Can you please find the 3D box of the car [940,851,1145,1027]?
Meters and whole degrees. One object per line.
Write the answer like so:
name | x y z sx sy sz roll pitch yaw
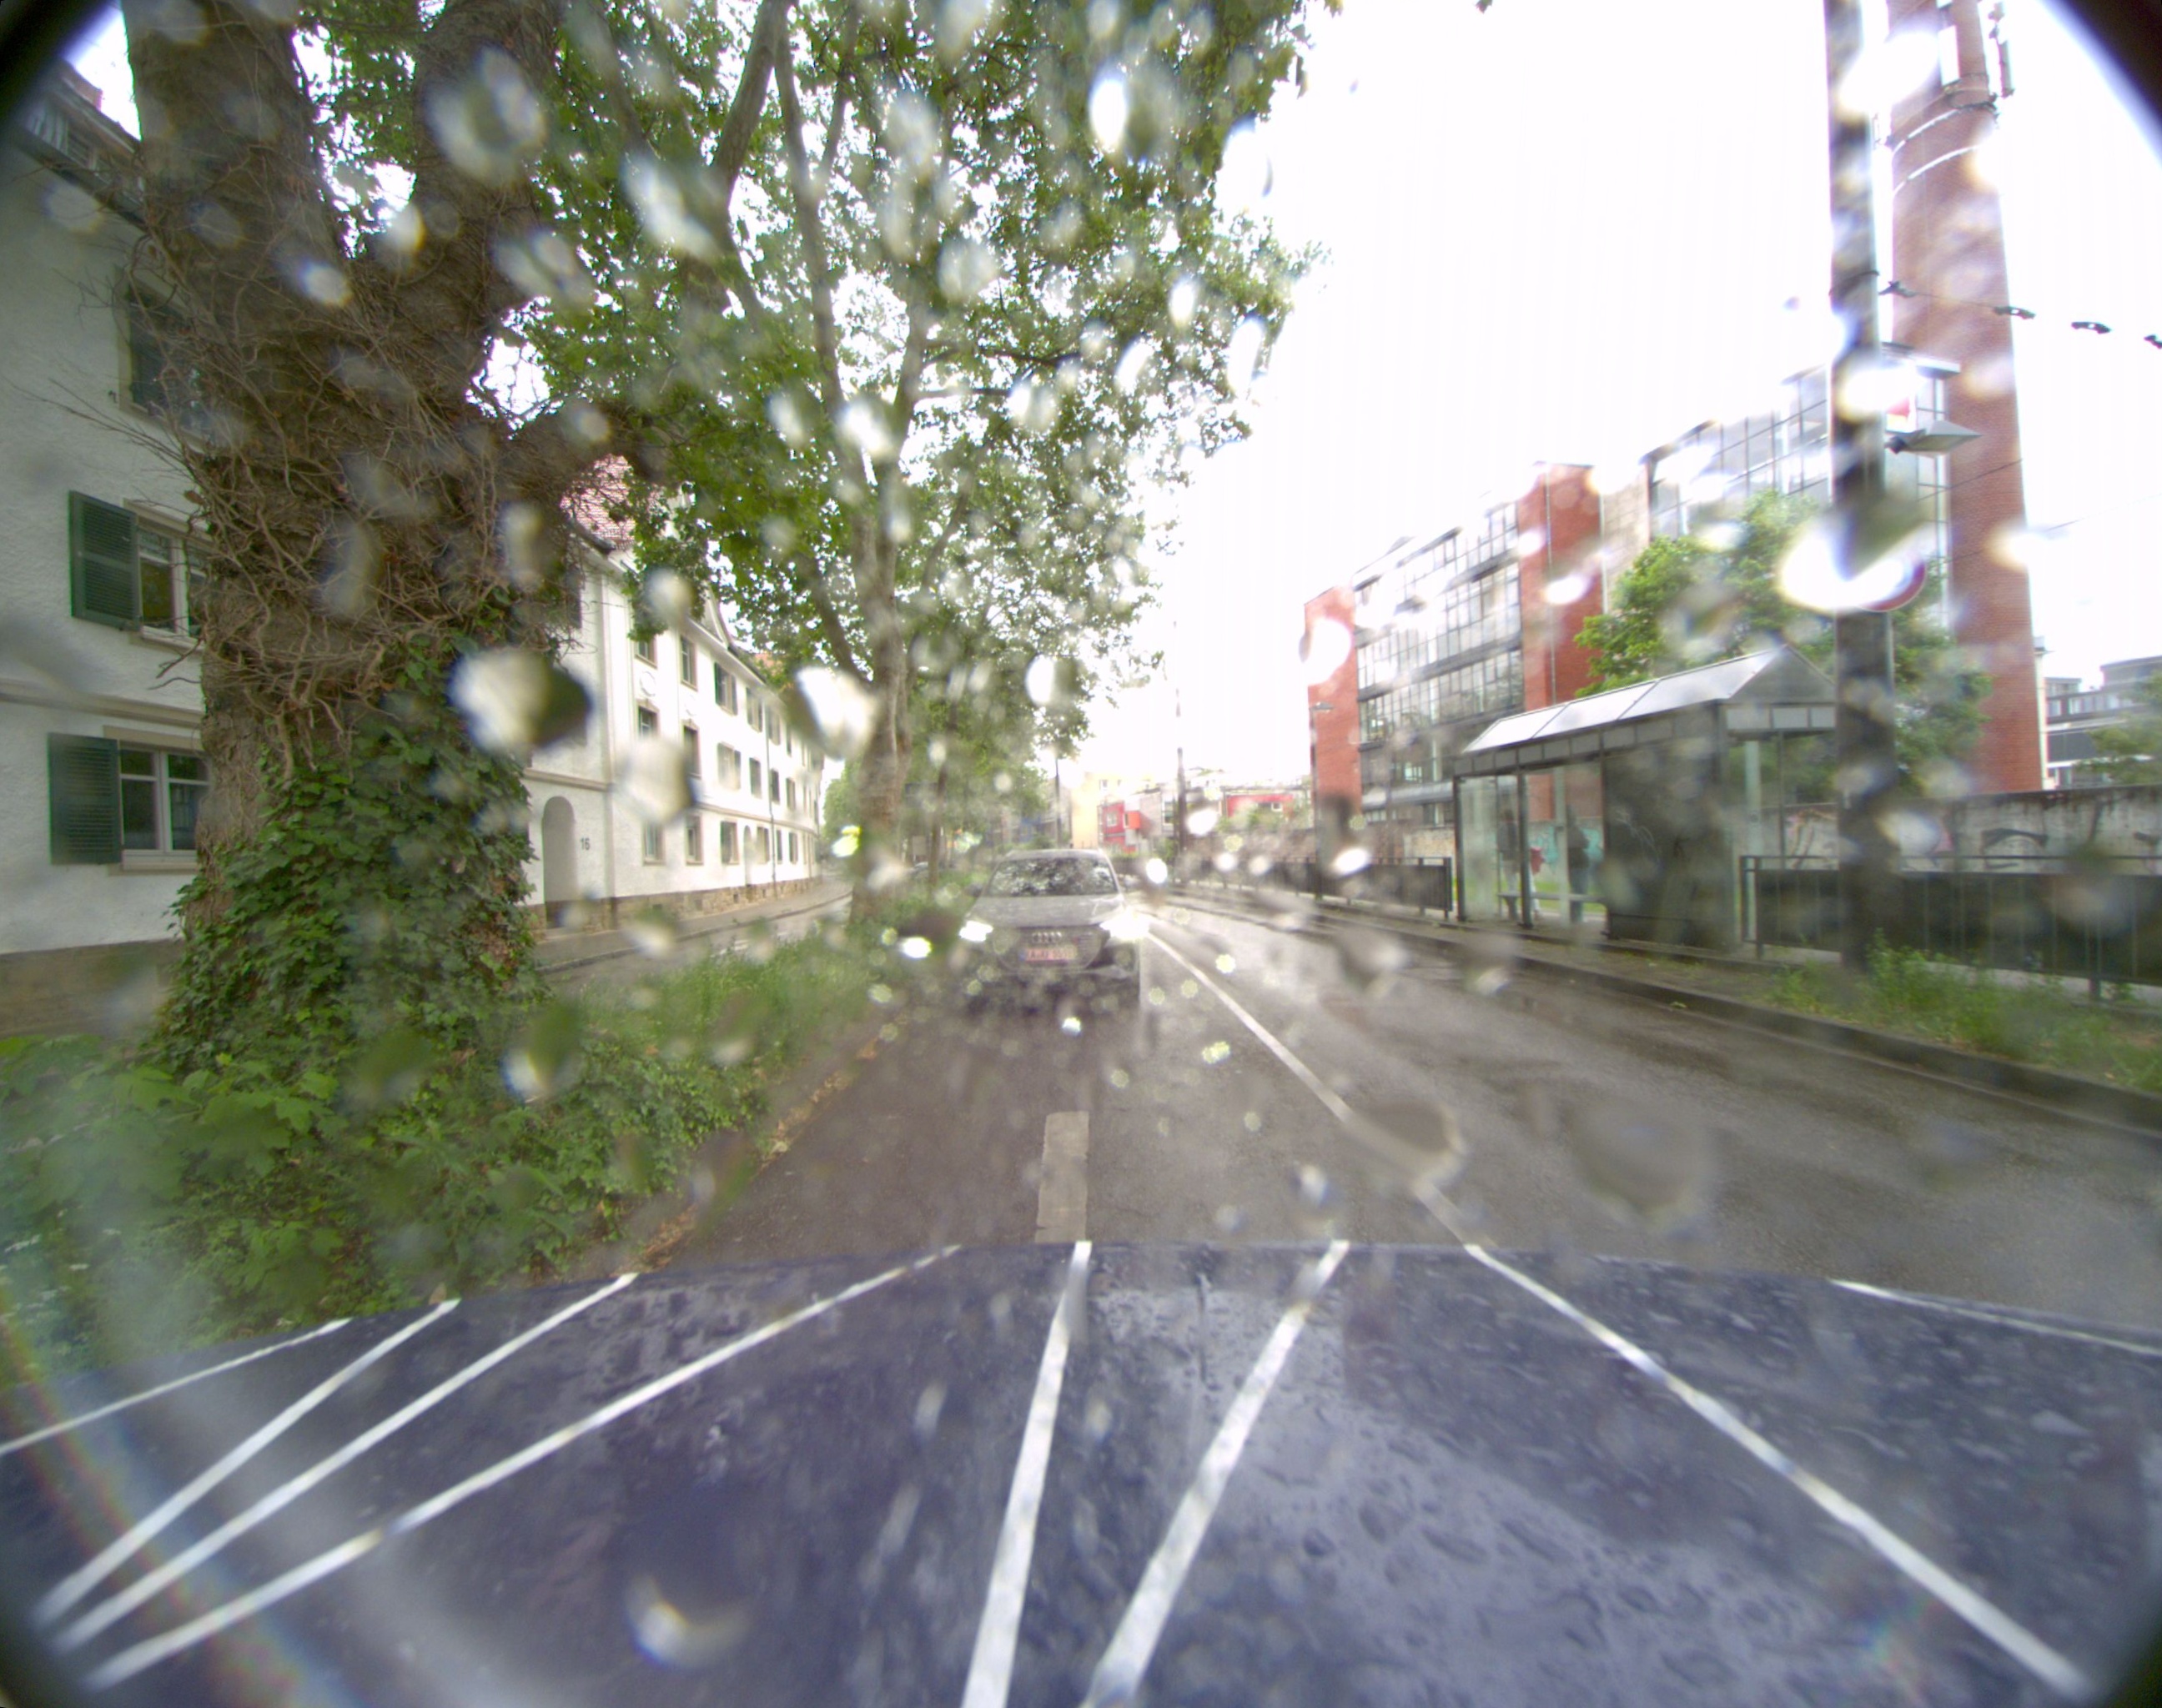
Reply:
car | -0.216 0.783 9.104 1.850 1.586 4.217 -2 0 4

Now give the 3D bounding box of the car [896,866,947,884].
car | -14.726 1.963 70.241 4.328 1.603 1.749 -1 0 6

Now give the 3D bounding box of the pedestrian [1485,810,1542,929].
pedestrian | 6.440 0.222 11.305 0.584 1.721 0.566 -1 1 -41

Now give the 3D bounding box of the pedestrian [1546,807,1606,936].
pedestrian | 6.889 0.234 10.576 0.584 1.721 0.566 -1 1 -43

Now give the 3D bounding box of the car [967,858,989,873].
car | -11.858 1.322 87.141 1.694 1.713 3.685 -1 0 -20

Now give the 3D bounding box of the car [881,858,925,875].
car | -22.207 1.529 94.741 4.884 2.002 2.002 -1 0 11

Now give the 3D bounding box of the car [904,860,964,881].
car | -11.511 1.270 59.624 4.224 1.532 1.932 -1 0 11
